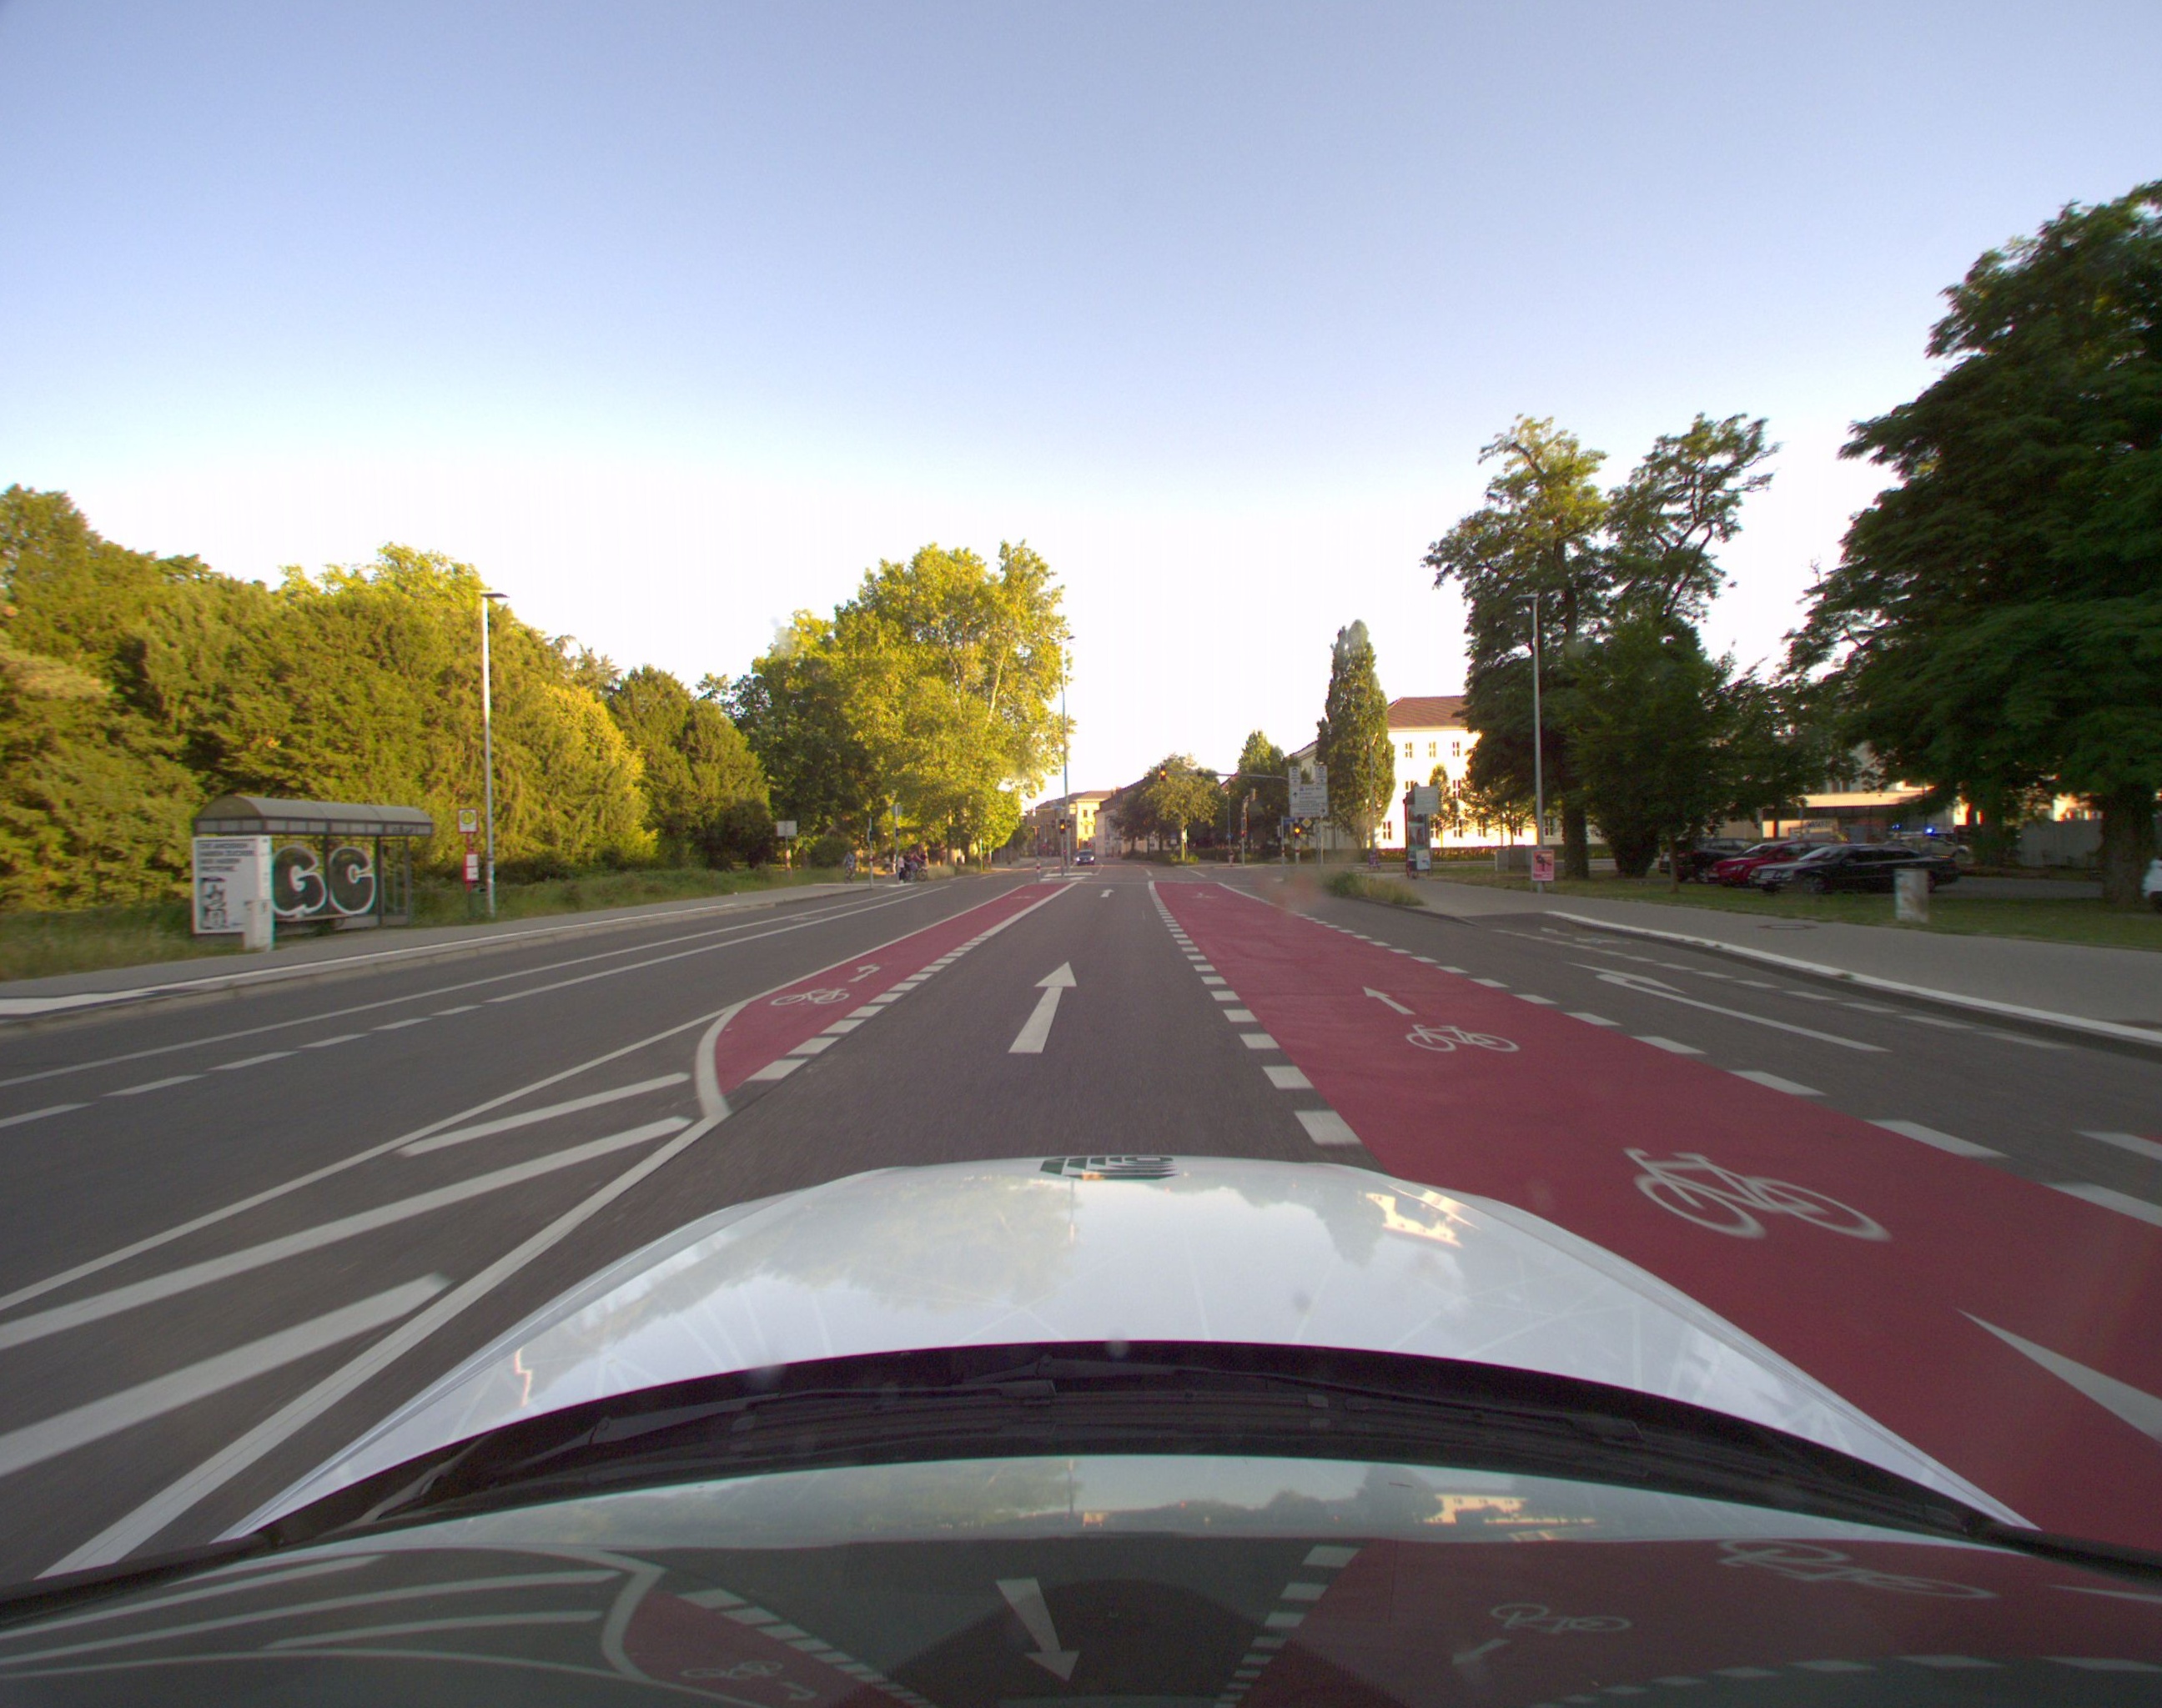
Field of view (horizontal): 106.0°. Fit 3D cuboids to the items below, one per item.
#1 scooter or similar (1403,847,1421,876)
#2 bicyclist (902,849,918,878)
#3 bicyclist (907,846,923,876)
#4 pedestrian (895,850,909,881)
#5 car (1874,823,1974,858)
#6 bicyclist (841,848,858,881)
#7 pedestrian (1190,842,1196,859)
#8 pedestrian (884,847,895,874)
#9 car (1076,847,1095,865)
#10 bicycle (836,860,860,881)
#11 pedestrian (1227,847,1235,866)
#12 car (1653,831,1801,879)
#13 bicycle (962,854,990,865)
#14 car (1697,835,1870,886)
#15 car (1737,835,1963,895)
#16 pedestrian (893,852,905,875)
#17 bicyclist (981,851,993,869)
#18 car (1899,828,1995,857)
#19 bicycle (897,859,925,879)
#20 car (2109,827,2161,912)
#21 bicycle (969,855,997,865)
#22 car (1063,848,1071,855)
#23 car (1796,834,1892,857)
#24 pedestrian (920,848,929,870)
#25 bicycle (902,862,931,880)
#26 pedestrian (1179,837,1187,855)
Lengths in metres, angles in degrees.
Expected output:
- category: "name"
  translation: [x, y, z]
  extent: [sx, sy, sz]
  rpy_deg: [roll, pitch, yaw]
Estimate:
- category: "scooter or similar"
  translation: [14.539, 0.314, 35.828]
  extent: [0.309, 1.231, 1.312]
  rpy_deg: [-1, 0, 4]
- category: "bicyclist"
  translation: [-9.878, 0.525, 47.010]
  extent: [0.631, 1.649, 0.634]
  rpy_deg: [-1, 0, 34]
- category: "bicyclist"
  translation: [-9.915, 0.423, 48.613]
  extent: [0.631, 1.780, 0.580]
  rpy_deg: [-1, 0, 34]
- category: "pedestrian"
  translation: [-9.844, 0.644, 44.777]
  extent: [0.604, 1.695, 0.499]
  rpy_deg: [-1, 0, 5]
- category: "car"
  translation: [50.930, -0.803, 49.266]
  extent: [3.964, 2.013, 1.744]
  rpy_deg: [0, 0, 8]
- category: "bicyclist"
  translation: [-12.935, 0.580, 45.501]
  extent: [0.732, 1.824, 0.712]
  rpy_deg: [-1, 0, 0]
- category: "pedestrian"
  translation: [12.826, -0.414, 93.486]
  extent: [0.633, 2.013, 0.720]
  rpy_deg: [0, 0, 0]
- category: "pedestrian"
  translation: [-14.055, 0.467, 59.791]
  extent: [0.653, 2.013, 0.599]
  rpy_deg: [0, 0, -35]
- category: "car"
  translation: [0.544, 0.211, 85.647]
  extent: [1.843, 1.720, 4.296]
  rpy_deg: [-3, 0, 1]
- category: "bicycle"
  translation: [-13.039, 0.924, 45.597]
  extent: [0.768, 1.100, 2.121]
  rpy_deg: [-1, 0, -2]
- category: "pedestrian"
  translation: [12.899, 0.190, 69.962]
  extent: [0.597, 1.636, 0.692]
  rpy_deg: [0, 1, 2]
- category: "car"
  translation: [23.590, 0.029, 29.884]
  extent: [3.876, 1.694, 1.840]
  rpy_deg: [0, 0, 7]
- category: "bicycle"
  translation: [-9.526, 0.518, 74.007]
  extent: [2.419, 0.924, 0.776]
  rpy_deg: [-1, 0, 4]
- category: "car"
  translation: [23.040, 0.214, 26.858]
  extent: [3.962, 1.561, 1.791]
  rpy_deg: [-1, 0, 10]
- category: "car"
  translation: [22.286, 0.327, 23.771]
  extent: [4.546, 1.449, 1.903]
  rpy_deg: [-3, -2, 6]
- category: "pedestrian"
  translation: [-16.257, 0.856, 72.654]
  extent: [0.799, 2.013, 0.994]
  rpy_deg: [0, 0, 3]
- category: "bicyclist"
  translation: [-8.710, 0.562, 75.316]
  extent: [0.954, 1.631, 0.753]
  rpy_deg: [-1, 0, 4]
- category: "car"
  translation: [54.585, -0.727, 51.388]
  extent: [3.965, 1.761, 1.751]
  rpy_deg: [0, 0, 7]
- category: "bicycle"
  translation: [-9.818, 0.876, 46.973]
  extent: [1.548, 1.111, 0.637]
  rpy_deg: [-1, 0, 34]
- category: "car"
  translation: [21.451, 0.278, 14.355]
  extent: [3.966, 1.537, 1.915]
  rpy_deg: [0, 0, 7]
- category: "bicycle"
  translation: [-9.056, 0.549, 75.349]
  extent: [2.419, 0.924, 0.776]
  rpy_deg: [-1, 0, 4]
- category: "car"
  translation: [-3.361, -0.559, 196.106]
  extent: [1.814, 1.588, 3.999]
  rpy_deg: [-2, 0, 0]
- category: "car"
  translation: [46.666, -0.507, 49.890]
  extent: [3.963, 1.342, 1.825]
  rpy_deg: [-1, 0, 9]
- category: "pedestrian"
  translation: [-14.226, 0.456, 74.080]
  extent: [0.637, 2.013, 0.702]
  rpy_deg: [-1, 0, 5]
- category: "bicycle"
  translation: [-9.808, 1.007, 48.550]
  extent: [1.749, 1.030, 0.583]
  rpy_deg: [-1, 0, 34]
- category: "pedestrian"
  translation: [11.642, -0.923, 92.907]
  extent: [0.866, 2.013, 0.723]
  rpy_deg: [0, 0, 3]
